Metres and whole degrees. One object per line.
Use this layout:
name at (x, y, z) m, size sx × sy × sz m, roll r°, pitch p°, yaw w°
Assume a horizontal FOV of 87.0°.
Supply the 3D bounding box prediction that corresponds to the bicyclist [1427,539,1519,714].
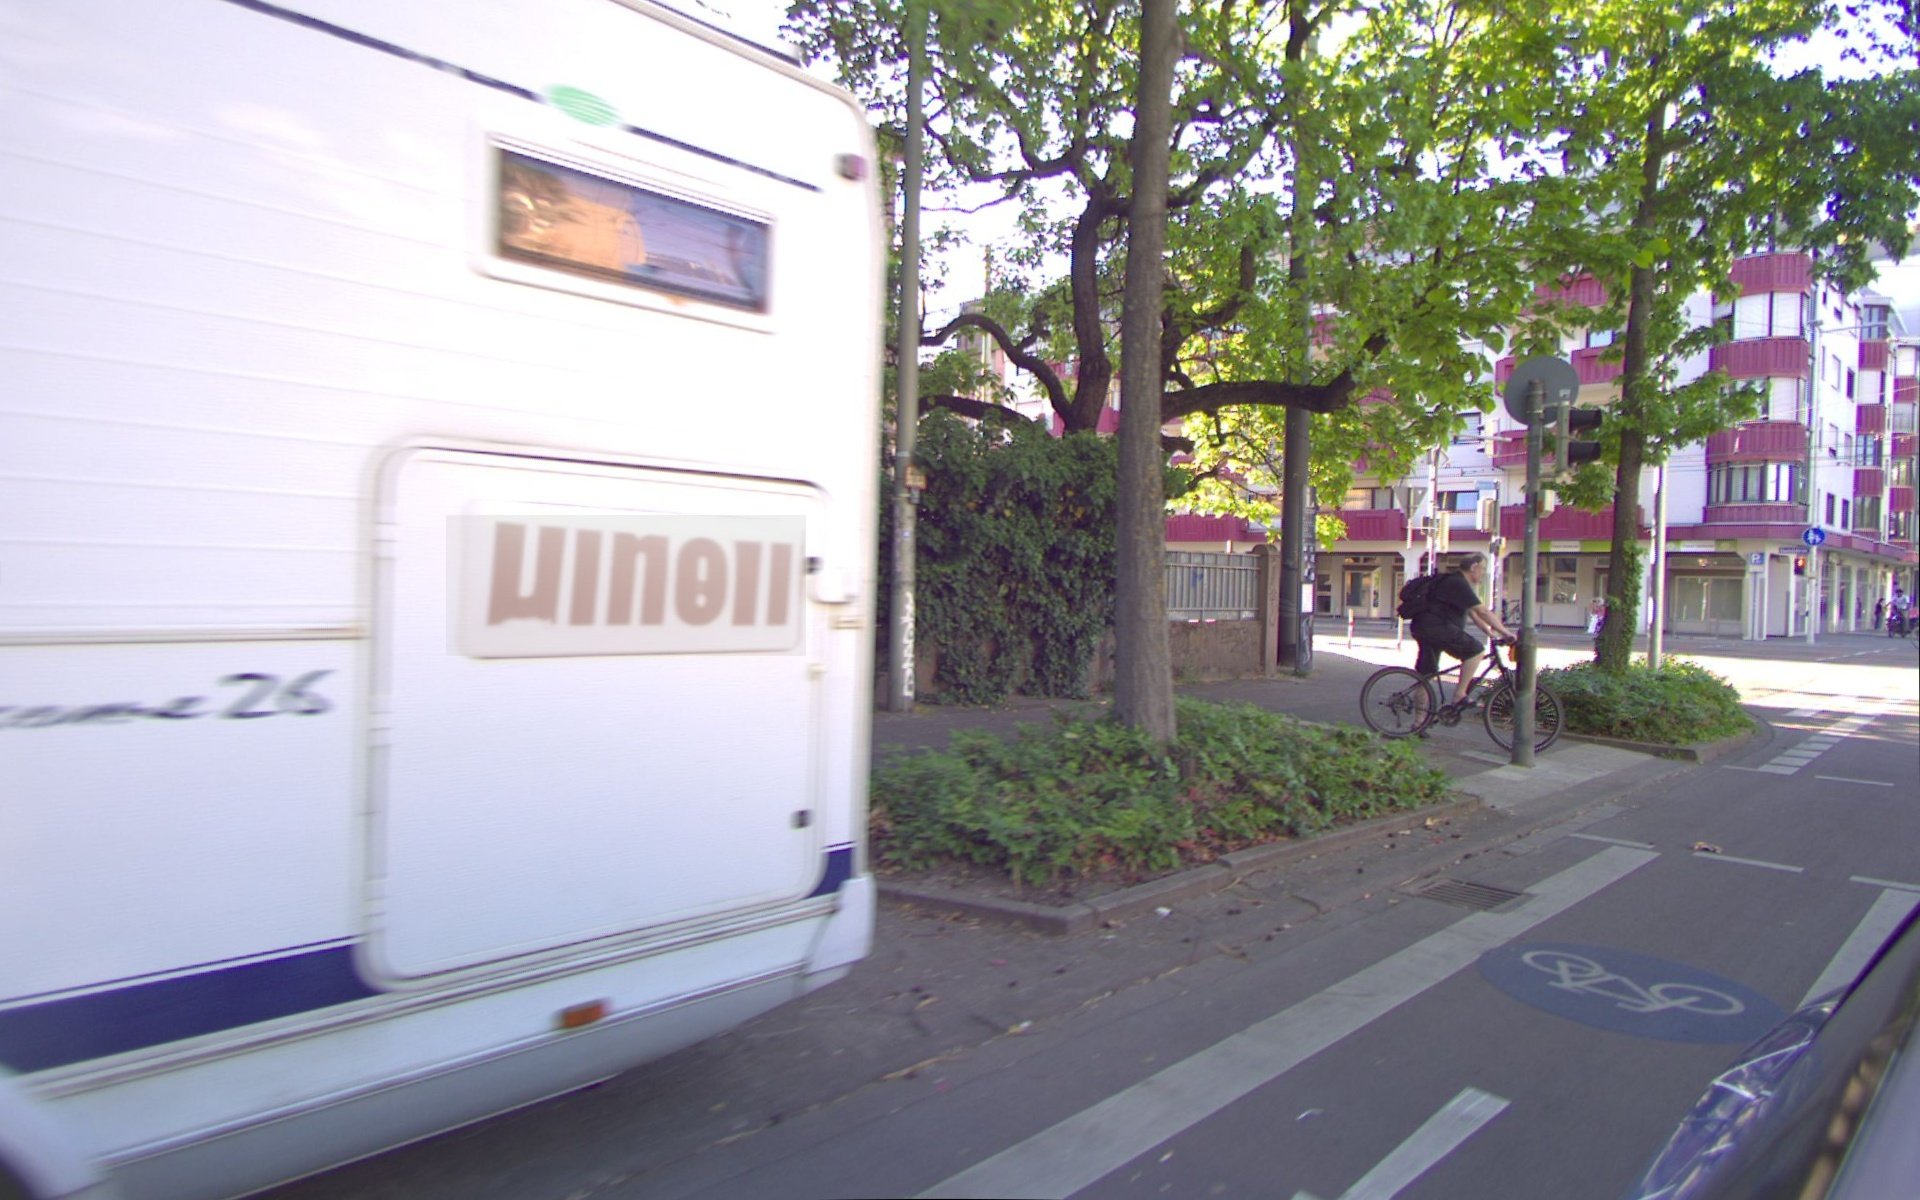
bicyclist at (4.705, 0.216, 9.316) m, size 0.695 × 1.528 × 0.745 m, roll 1°, pitch 1°, yaw 26°

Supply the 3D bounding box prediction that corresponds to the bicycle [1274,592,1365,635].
bicycle at (10.358, 0.366, 29.184) m, size 2.320 × 1.133 × 0.834 m, roll 2°, pitch 1°, yaw 40°

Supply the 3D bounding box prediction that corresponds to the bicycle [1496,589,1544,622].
bicycle at (22.020, 0.202, 39.835) m, size 0.603 × 1.214 × 1.802 m, roll 1°, pitch 2°, yaw -12°

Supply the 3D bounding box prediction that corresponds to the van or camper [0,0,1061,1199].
van or camper at (-3.349, -0.277, 1.342) m, size 7.419 × 3.162 × 2.381 m, roll 0°, pitch 4°, yaw -41°

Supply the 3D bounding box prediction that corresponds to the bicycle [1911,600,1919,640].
bicycle at (29.968, 0.616, 30.341) m, size 2.029 × 1.204 × 0.583 m, roll 1°, pitch 1°, yaw 34°

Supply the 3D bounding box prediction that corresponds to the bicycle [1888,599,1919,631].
bicycle at (37.386, 0.558, 39.559) m, size 2.547 × 1.198 × 0.964 m, roll 0°, pitch 1°, yaw -32°

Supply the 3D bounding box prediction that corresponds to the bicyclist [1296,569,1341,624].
bicyclist at (10.353, -0.100, 29.194) m, size 0.924 × 1.528 × 0.998 m, roll 2°, pitch 1°, yaw 39°

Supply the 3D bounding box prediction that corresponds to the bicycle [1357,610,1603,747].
bicycle at (4.715, 0.673, 9.308) m, size 1.931 × 1.083 × 0.636 m, roll 2°, pitch 1°, yaw 26°

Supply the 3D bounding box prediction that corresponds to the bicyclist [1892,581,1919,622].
bicyclist at (37.284, 0.063, 39.478) m, size 1.058 × 1.559 × 1.061 m, roll 1°, pitch 1°, yaw -31°
